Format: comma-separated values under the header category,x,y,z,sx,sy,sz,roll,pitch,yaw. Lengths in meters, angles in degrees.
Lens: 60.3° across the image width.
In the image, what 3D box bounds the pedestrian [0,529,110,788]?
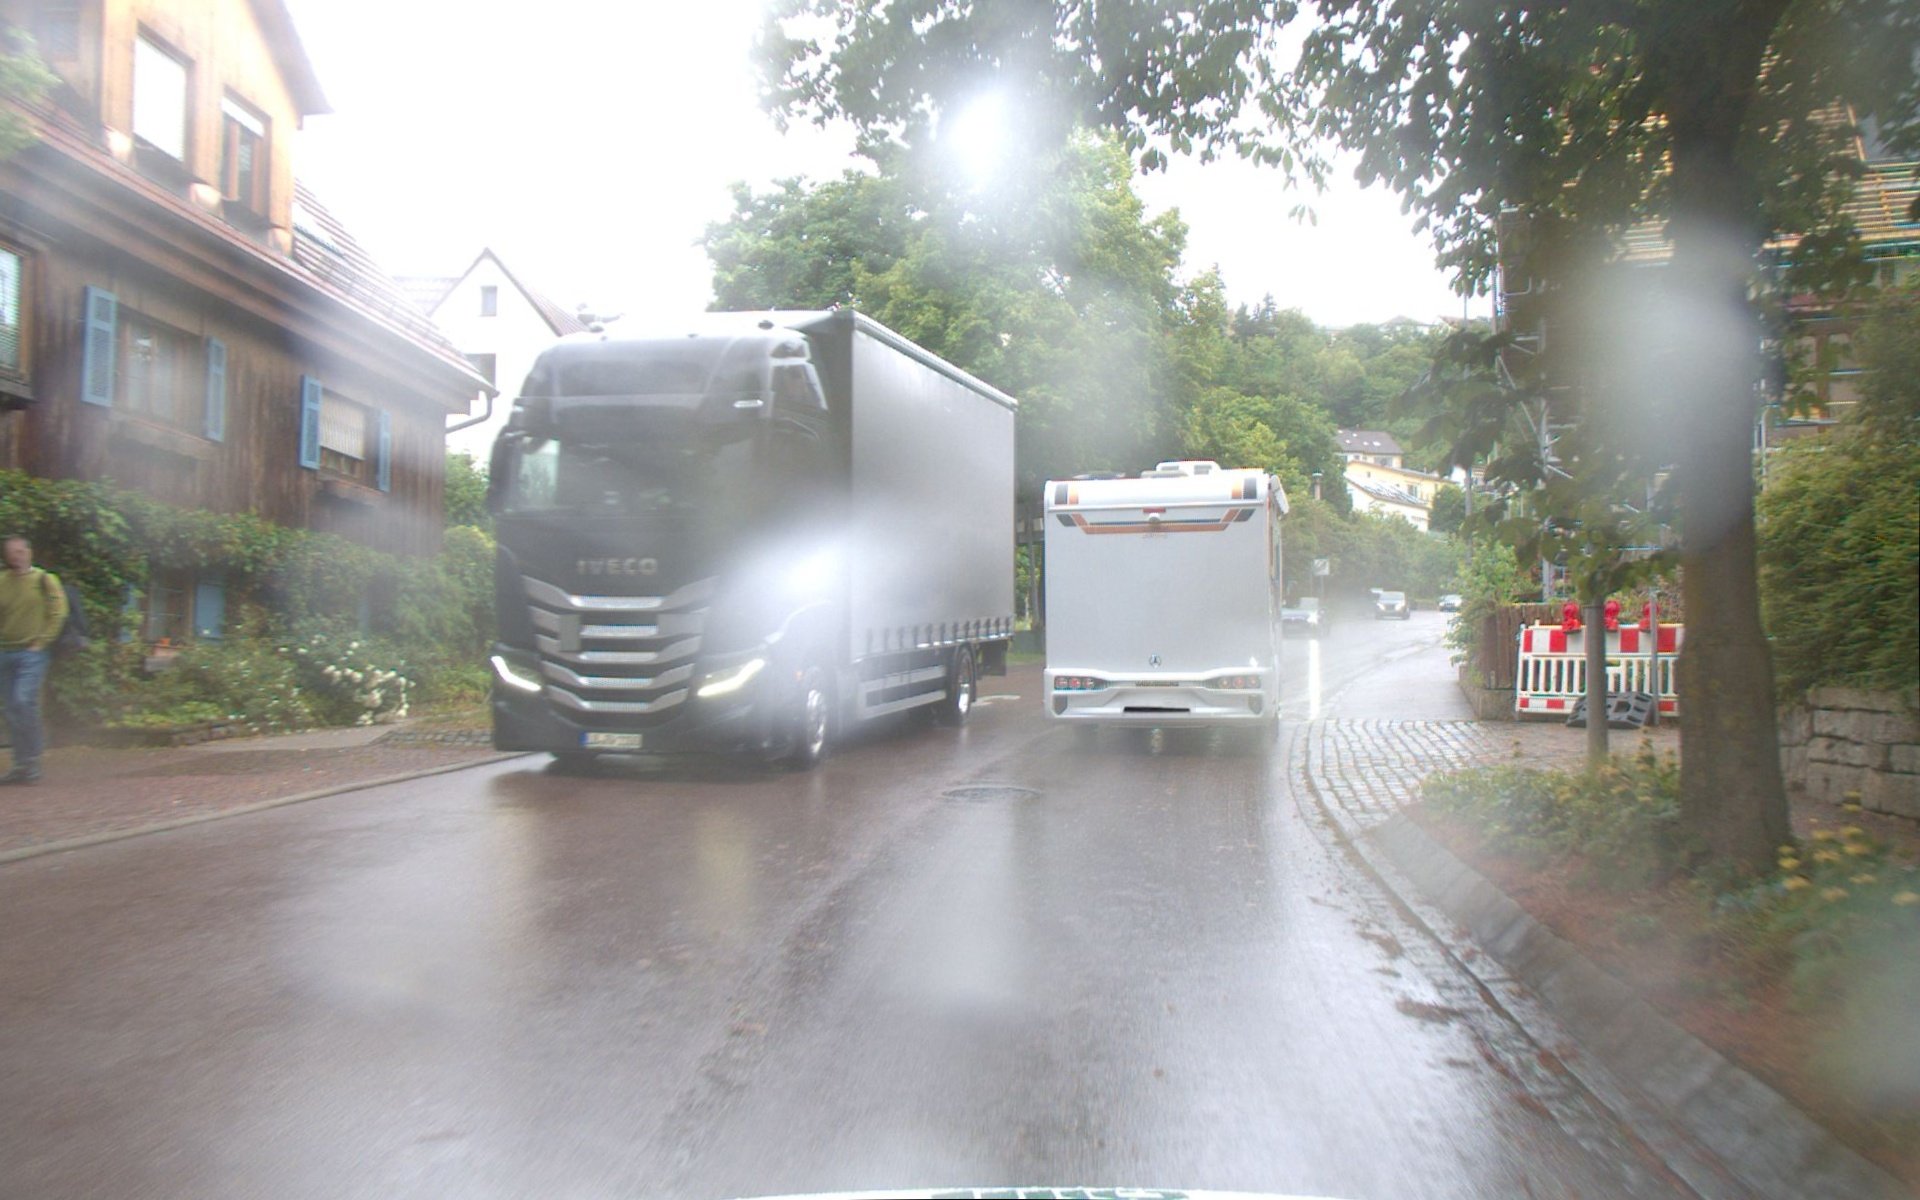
category,x,y,z,sx,sy,sz,roll,pitch,yaw
pedestrian,-7.034,0.433,12.645,0.781,1.901,0.911,1,-1,-19

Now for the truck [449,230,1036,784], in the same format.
category,x,y,z,sx,sy,sz,roll,pitch,yaw
truck,-1.543,-0.723,17.832,2.777,4.239,9.984,1,0,14

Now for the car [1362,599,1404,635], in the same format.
category,x,y,z,sx,sy,sz,roll,pitch,yaw
car,25.308,1.016,98.927,1.953,2.049,3.999,0,-1,22

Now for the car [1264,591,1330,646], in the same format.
category,x,y,z,sx,sy,sz,roll,pitch,yaw
car,12.284,0.664,60.126,1.951,1.928,4.002,0,-1,17

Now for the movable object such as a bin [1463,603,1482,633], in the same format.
category,x,y,z,sx,sy,sz,roll,pitch,yaw
movable object such as a bin,21.019,0.732,67.855,0.709,1.223,0.730,-1,0,18

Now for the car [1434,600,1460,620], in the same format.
category,x,y,z,sx,sy,sz,roll,pitch,yaw
car,40.384,0.866,137.193,1.644,1.596,3.568,0,-1,24

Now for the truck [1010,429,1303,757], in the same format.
category,x,y,z,sx,sy,sz,roll,pitch,yaw
truck,2.460,-0.041,18.626,2.637,3.038,6.241,1,-1,13
